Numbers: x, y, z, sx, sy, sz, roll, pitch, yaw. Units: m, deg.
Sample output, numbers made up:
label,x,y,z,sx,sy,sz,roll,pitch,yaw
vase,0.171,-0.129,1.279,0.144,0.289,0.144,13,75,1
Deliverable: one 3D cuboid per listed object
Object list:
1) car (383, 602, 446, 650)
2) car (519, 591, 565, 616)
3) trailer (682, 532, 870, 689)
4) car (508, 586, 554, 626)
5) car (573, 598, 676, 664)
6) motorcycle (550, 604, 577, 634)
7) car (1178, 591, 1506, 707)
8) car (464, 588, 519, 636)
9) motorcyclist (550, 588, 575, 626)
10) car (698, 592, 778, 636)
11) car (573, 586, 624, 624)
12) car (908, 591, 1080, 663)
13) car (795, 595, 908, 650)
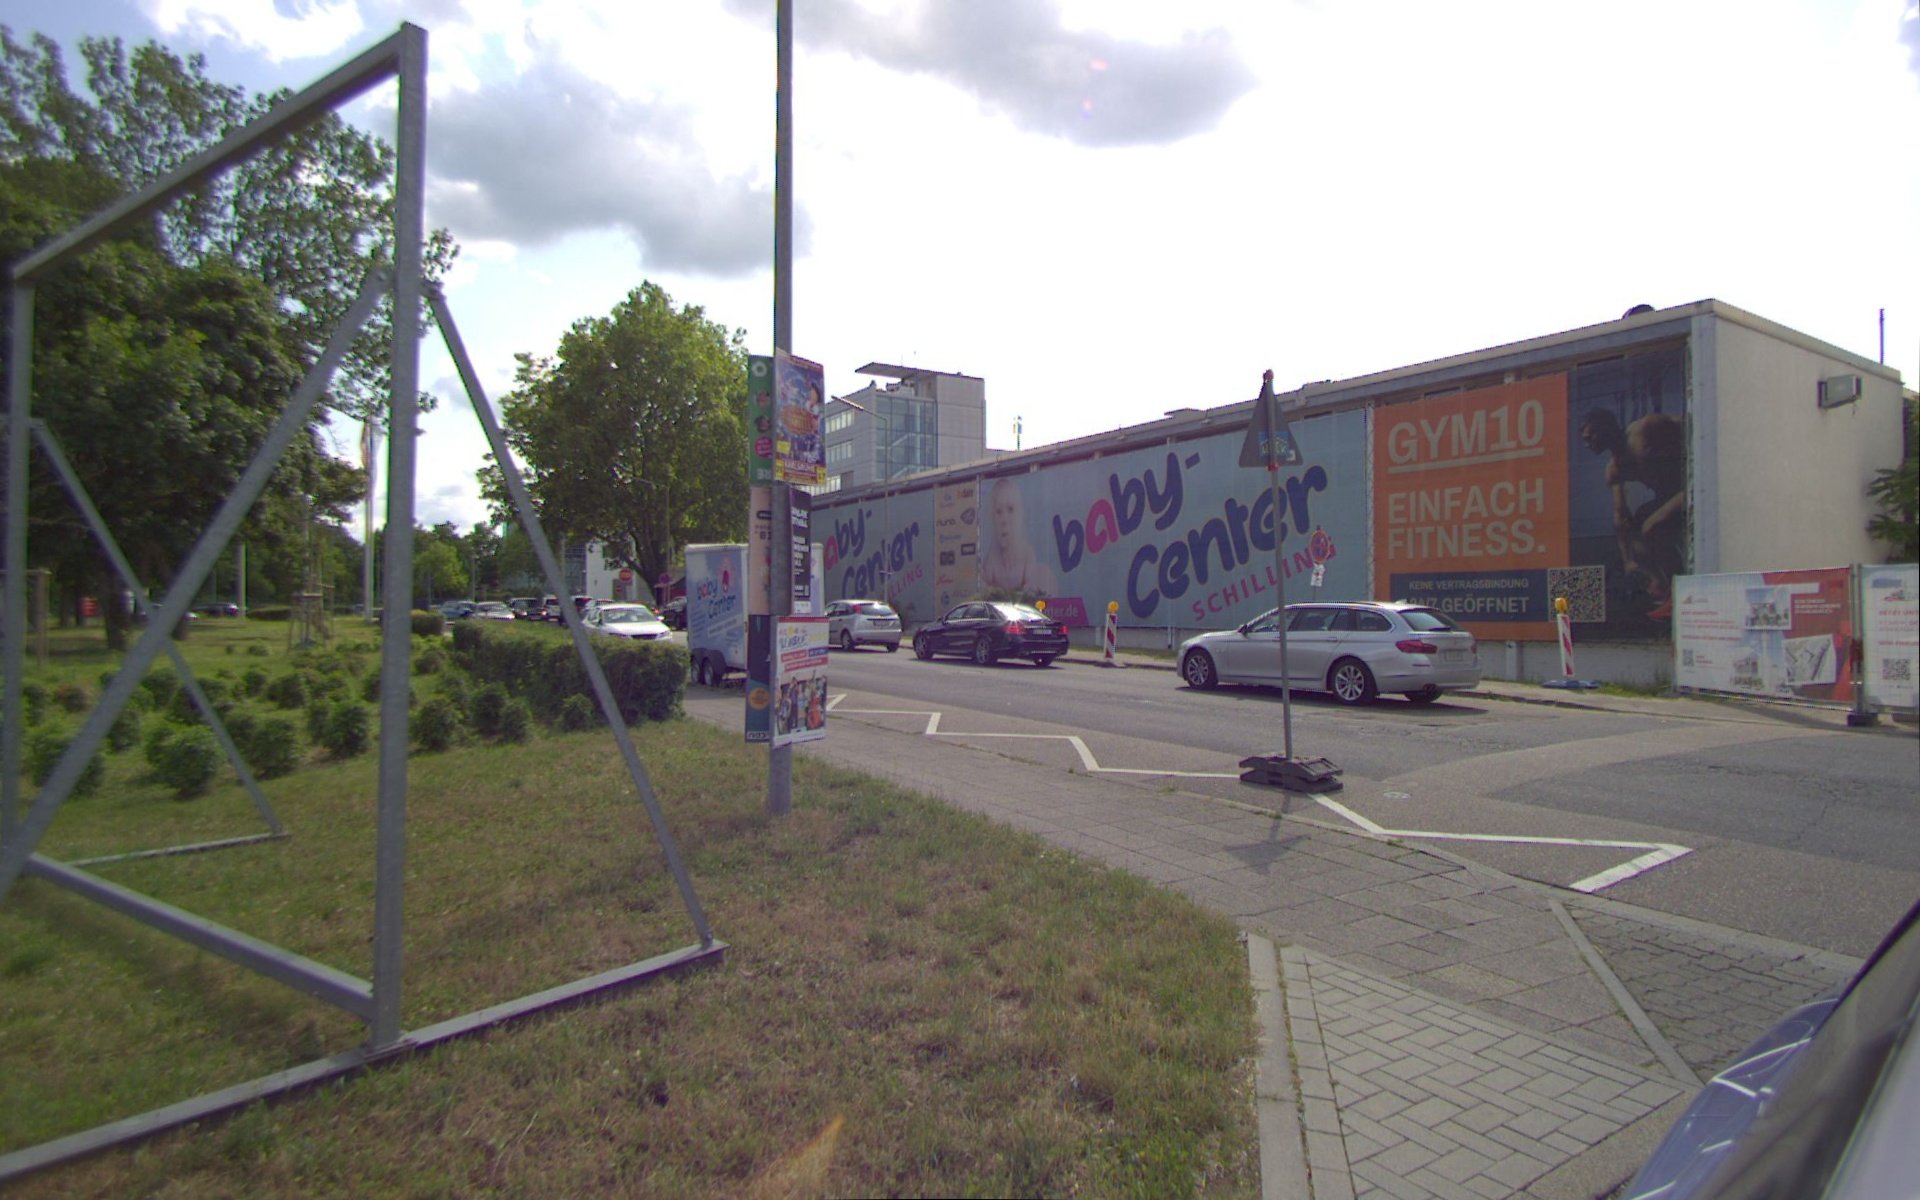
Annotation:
label,x,y,z,sx,sy,sz,roll,pitch,yaw
car,-20.357,0.938,37.709,1.686,1.559,3.689,-5,2,-33
car,-27.956,0.232,67.638,1.963,1.603,3.998,0,0,-37
trailer,-3.449,0.107,18.315,1.735,2.448,4.279,-3,3,-33
car,-24.176,0.307,56.942,1.960,2.038,4.006,-4,3,-28
car,-9.017,0.785,27.055,1.685,1.559,3.689,-3,1,-33
motorcycle,-17.520,0.811,44.718,0.633,1.261,1.959,-4,2,-33
car,5.599,0.630,15.480,1.735,1.499,4.621,1,0,-31
car,-22.202,0.525,47.877,1.961,2.038,4.005,-4,3,-30
motorcyclist,-17.583,0.285,44.763,0.759,1.617,0.904,-4,3,-34
car,-8.133,0.462,36.879,1.569,1.522,3.505,0,0,-36
car,-20.375,0.250,56.949,1.960,2.039,4.003,0,0,-31
car,0.667,0.554,23.716,1.817,1.518,4.559,0,0,-32
car,-3.280,0.613,29.962,1.759,1.509,3.950,0,0,-33
